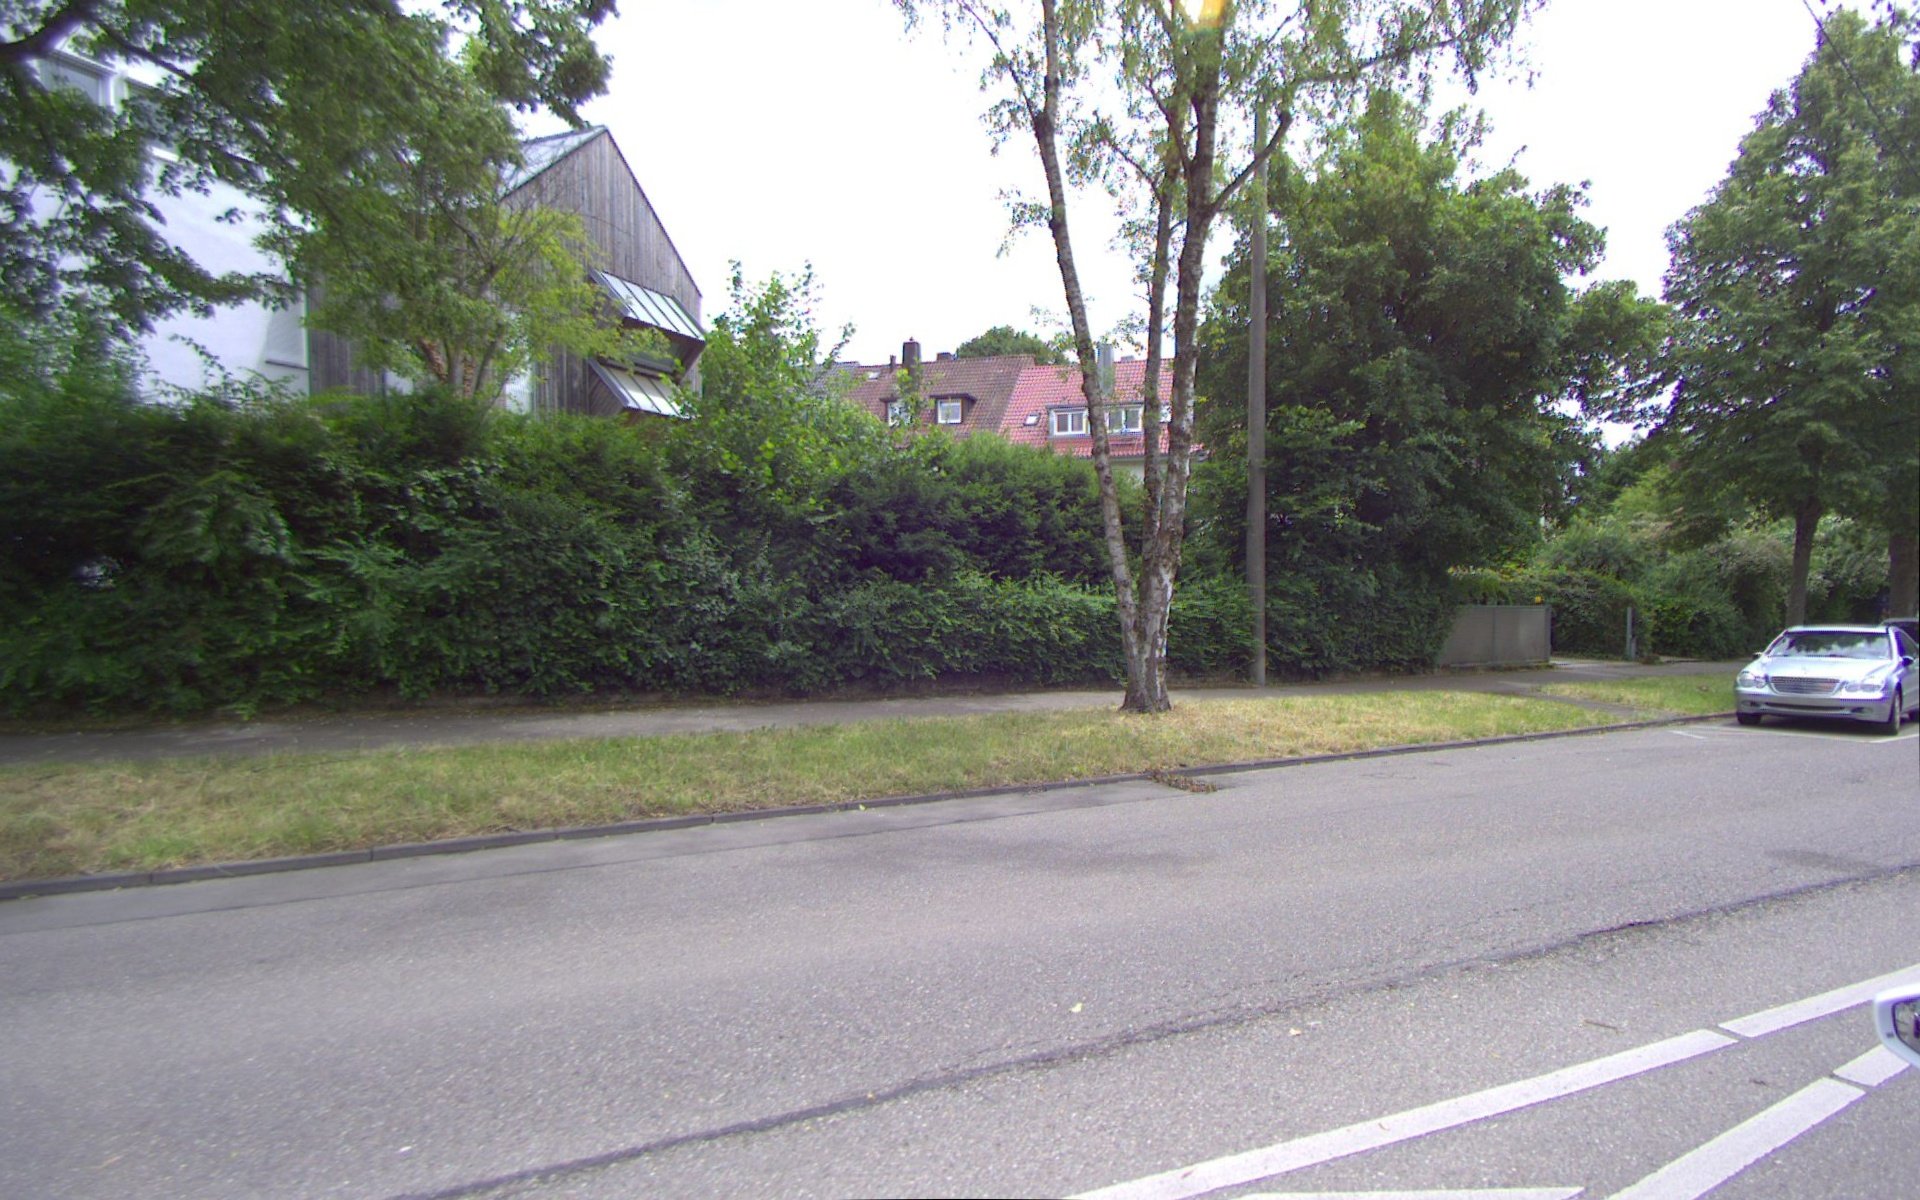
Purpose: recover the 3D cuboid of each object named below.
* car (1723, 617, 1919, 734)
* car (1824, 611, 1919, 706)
[{"bbox_3d":[12.937,0.988,14.824,4.434,1.435,1.721,0,0,-40],"label":"car"},{"bbox_3d":[17.426,0.984,18.145,4.145,1.558,1.725,0,0,-34],"label":"car"}]
